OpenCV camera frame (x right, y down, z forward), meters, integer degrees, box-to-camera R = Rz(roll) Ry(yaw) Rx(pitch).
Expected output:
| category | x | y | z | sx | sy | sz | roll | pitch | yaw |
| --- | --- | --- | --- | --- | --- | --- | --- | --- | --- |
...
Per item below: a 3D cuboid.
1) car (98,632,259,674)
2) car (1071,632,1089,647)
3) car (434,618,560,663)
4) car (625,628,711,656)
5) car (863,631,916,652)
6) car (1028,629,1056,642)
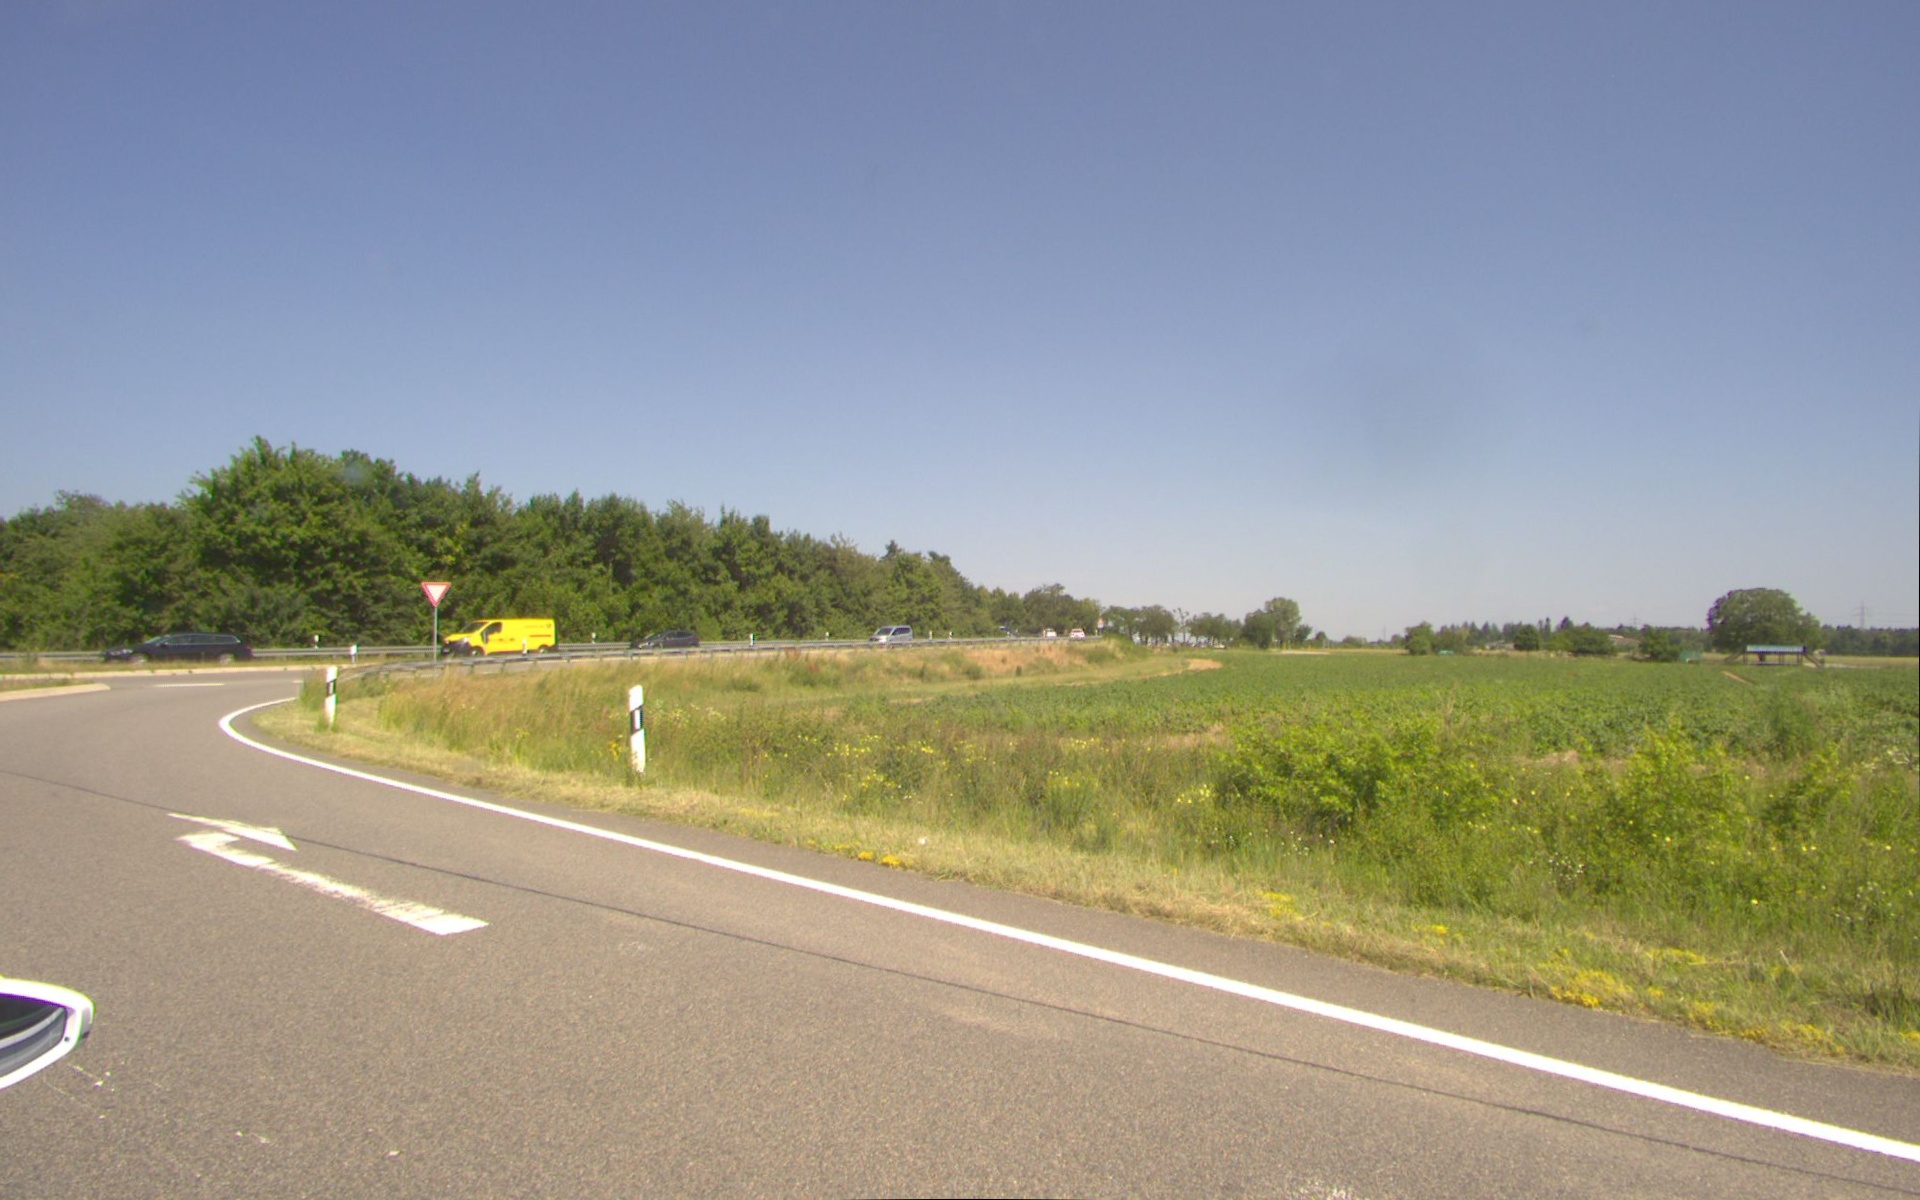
| category | x | y | z | sx | sy | sz | roll | pitch | yaw |
| --- | --- | --- | --- | --- | --- | --- | --- | --- | --- |
| car | -30.254 | 2.016 | 38.879 | 1.831 | 1.533 | 4.664 | -2 | -2 | 39 |
| car | 13.600 | 4.494 | 113.707 | 1.705 | 1.587 | 4.483 | -1 | -1 | 4 |
| car | -22.202 | 1.927 | 48.267 | 1.972 | 2.039 | 5.312 | -1 | -2 | 33 |
| car | -16.622 | 2.353 | 57.160 | 1.828 | 1.533 | 4.671 | -1 | -2 | 34 |
| car | -5.357 | 3.143 | 76.602 | 1.825 | 1.533 | 4.679 | -1 | -2 | 28 |
| car | 10.632 | 4.604 | 130.012 | 1.716 | 1.587 | 3.672 | 1 | -2 | -33 |
